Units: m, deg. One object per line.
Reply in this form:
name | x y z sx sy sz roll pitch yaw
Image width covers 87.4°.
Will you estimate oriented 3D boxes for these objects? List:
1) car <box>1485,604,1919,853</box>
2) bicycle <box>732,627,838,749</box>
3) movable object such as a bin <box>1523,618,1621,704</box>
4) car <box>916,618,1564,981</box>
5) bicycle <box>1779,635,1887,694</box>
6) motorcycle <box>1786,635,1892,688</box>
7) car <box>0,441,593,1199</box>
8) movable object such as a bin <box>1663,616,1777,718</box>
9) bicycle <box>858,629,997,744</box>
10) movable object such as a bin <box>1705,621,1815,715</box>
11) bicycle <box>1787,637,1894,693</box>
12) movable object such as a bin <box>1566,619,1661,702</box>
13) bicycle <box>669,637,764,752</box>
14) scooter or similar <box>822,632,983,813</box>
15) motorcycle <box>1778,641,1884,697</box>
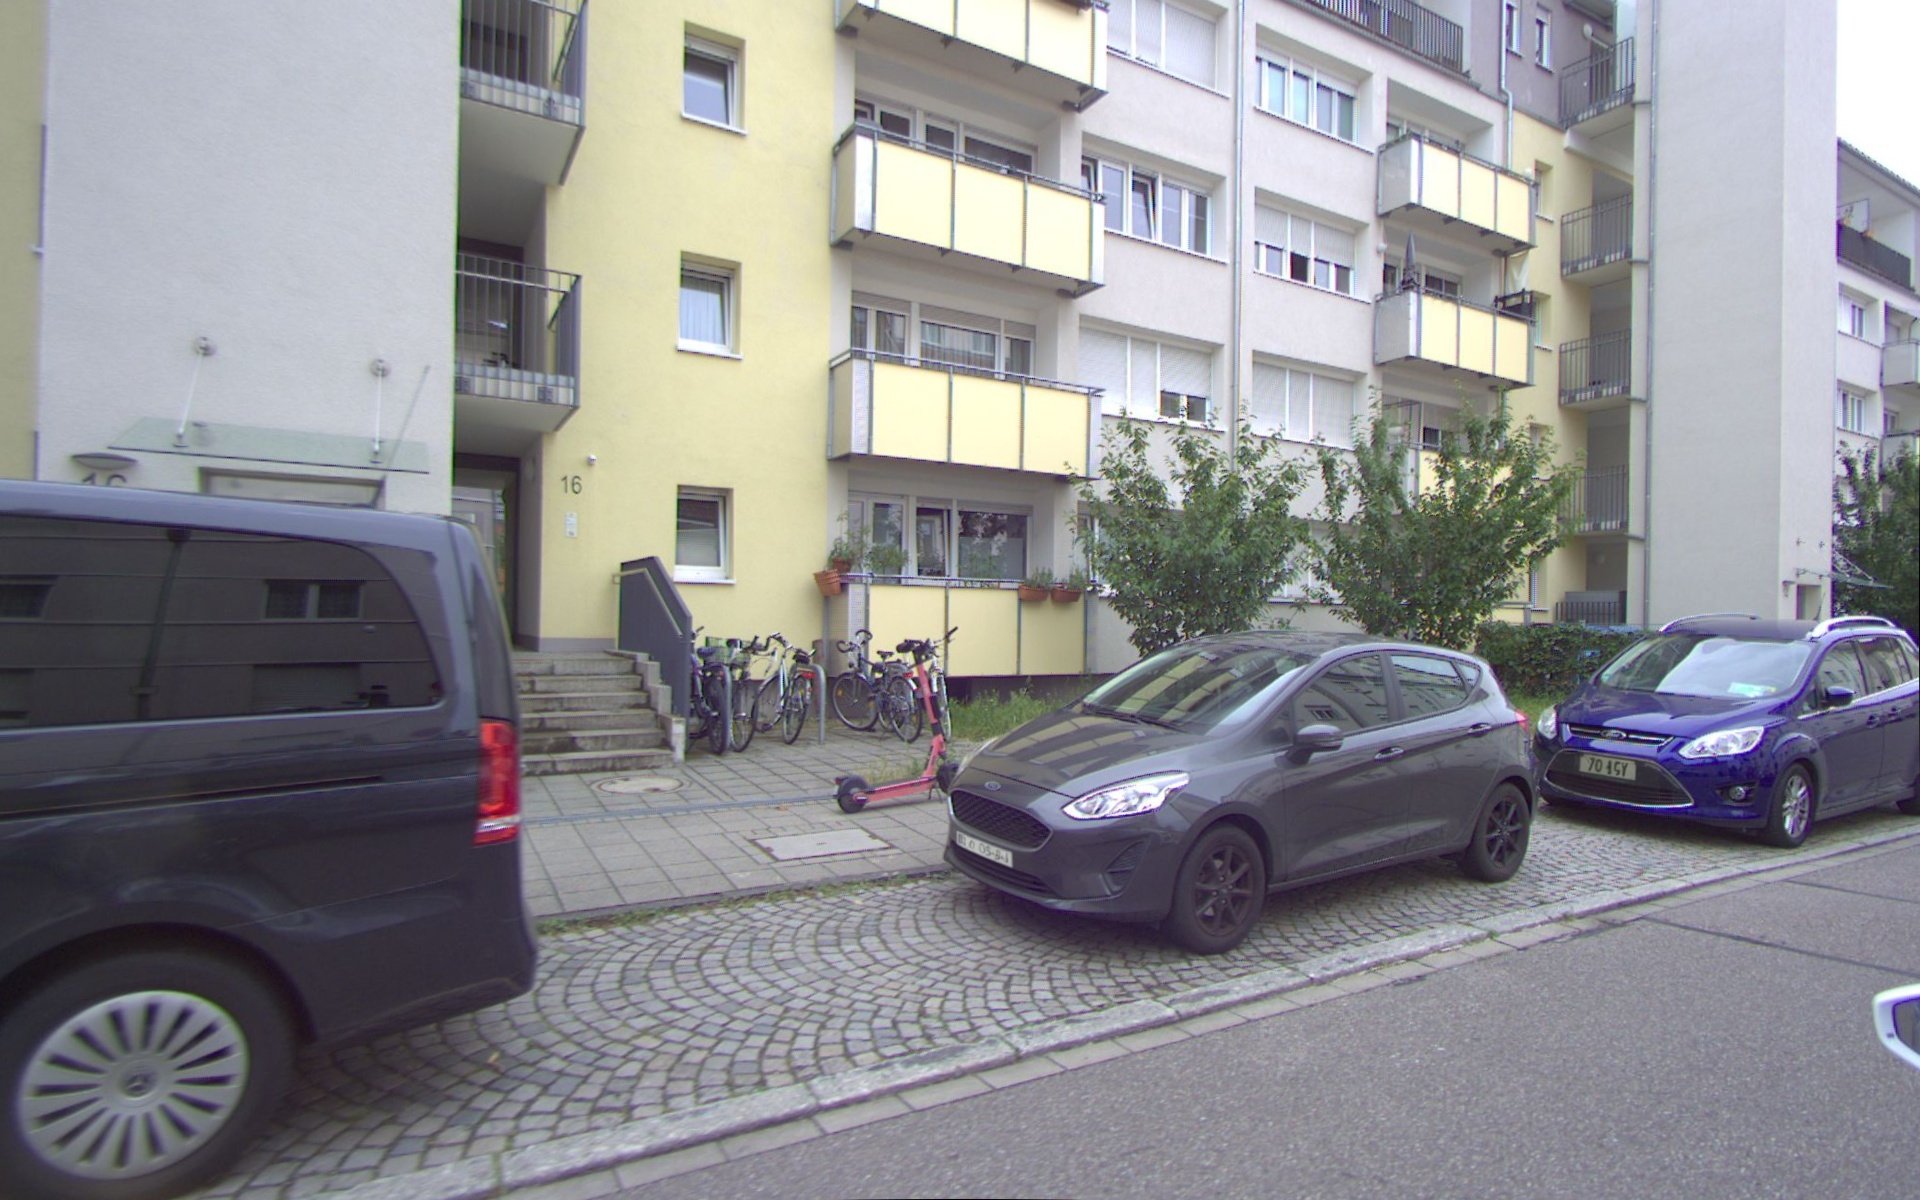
car | 6.720 0.920 8.675 4.419 1.648 1.791 1 0 -30
bicycle | -1.889 0.875 10.609 0.706 1.152 1.848 1 -1 -23
movable object such as a bin | 11.125 1.084 18.258 1.299 1.466 0.997 2 0 -30
car | 1.775 0.887 5.935 3.779 1.465 1.611 1 0 -34
bicycle | 19.260 1.399 22.200 0.602 1.241 1.712 1 -1 -34
motorcycle | 20.188 1.389 23.098 0.587 1.144 1.738 1 -2 -33
car | -3.618 0.547 2.613 4.731 1.879 1.877 1 -1 -31
movable object such as a bin | 12.107 1.038 16.005 1.299 1.520 0.997 2 0 -30
bicycle | -0.403 0.908 11.166 0.709 1.152 1.842 1 -1 -32
movable object such as a bin | 13.258 1.103 16.658 1.299 1.466 0.997 2 0 -30
bicycle | 19.767 1.432 22.579 0.602 1.157 1.712 1 -1 -34
movable object such as a bin | 12.338 1.124 18.976 1.299 1.466 0.997 2 0 -30
bicycle | -2.545 0.921 10.360 0.661 1.034 1.848 1 -1 -23
scooter or similar | -0.423 0.881 7.546 1.122 1.260 0.434 1 -1 -30
motorcycle | 18.749 1.458 21.646 0.683 1.144 1.606 1 -2 -33
